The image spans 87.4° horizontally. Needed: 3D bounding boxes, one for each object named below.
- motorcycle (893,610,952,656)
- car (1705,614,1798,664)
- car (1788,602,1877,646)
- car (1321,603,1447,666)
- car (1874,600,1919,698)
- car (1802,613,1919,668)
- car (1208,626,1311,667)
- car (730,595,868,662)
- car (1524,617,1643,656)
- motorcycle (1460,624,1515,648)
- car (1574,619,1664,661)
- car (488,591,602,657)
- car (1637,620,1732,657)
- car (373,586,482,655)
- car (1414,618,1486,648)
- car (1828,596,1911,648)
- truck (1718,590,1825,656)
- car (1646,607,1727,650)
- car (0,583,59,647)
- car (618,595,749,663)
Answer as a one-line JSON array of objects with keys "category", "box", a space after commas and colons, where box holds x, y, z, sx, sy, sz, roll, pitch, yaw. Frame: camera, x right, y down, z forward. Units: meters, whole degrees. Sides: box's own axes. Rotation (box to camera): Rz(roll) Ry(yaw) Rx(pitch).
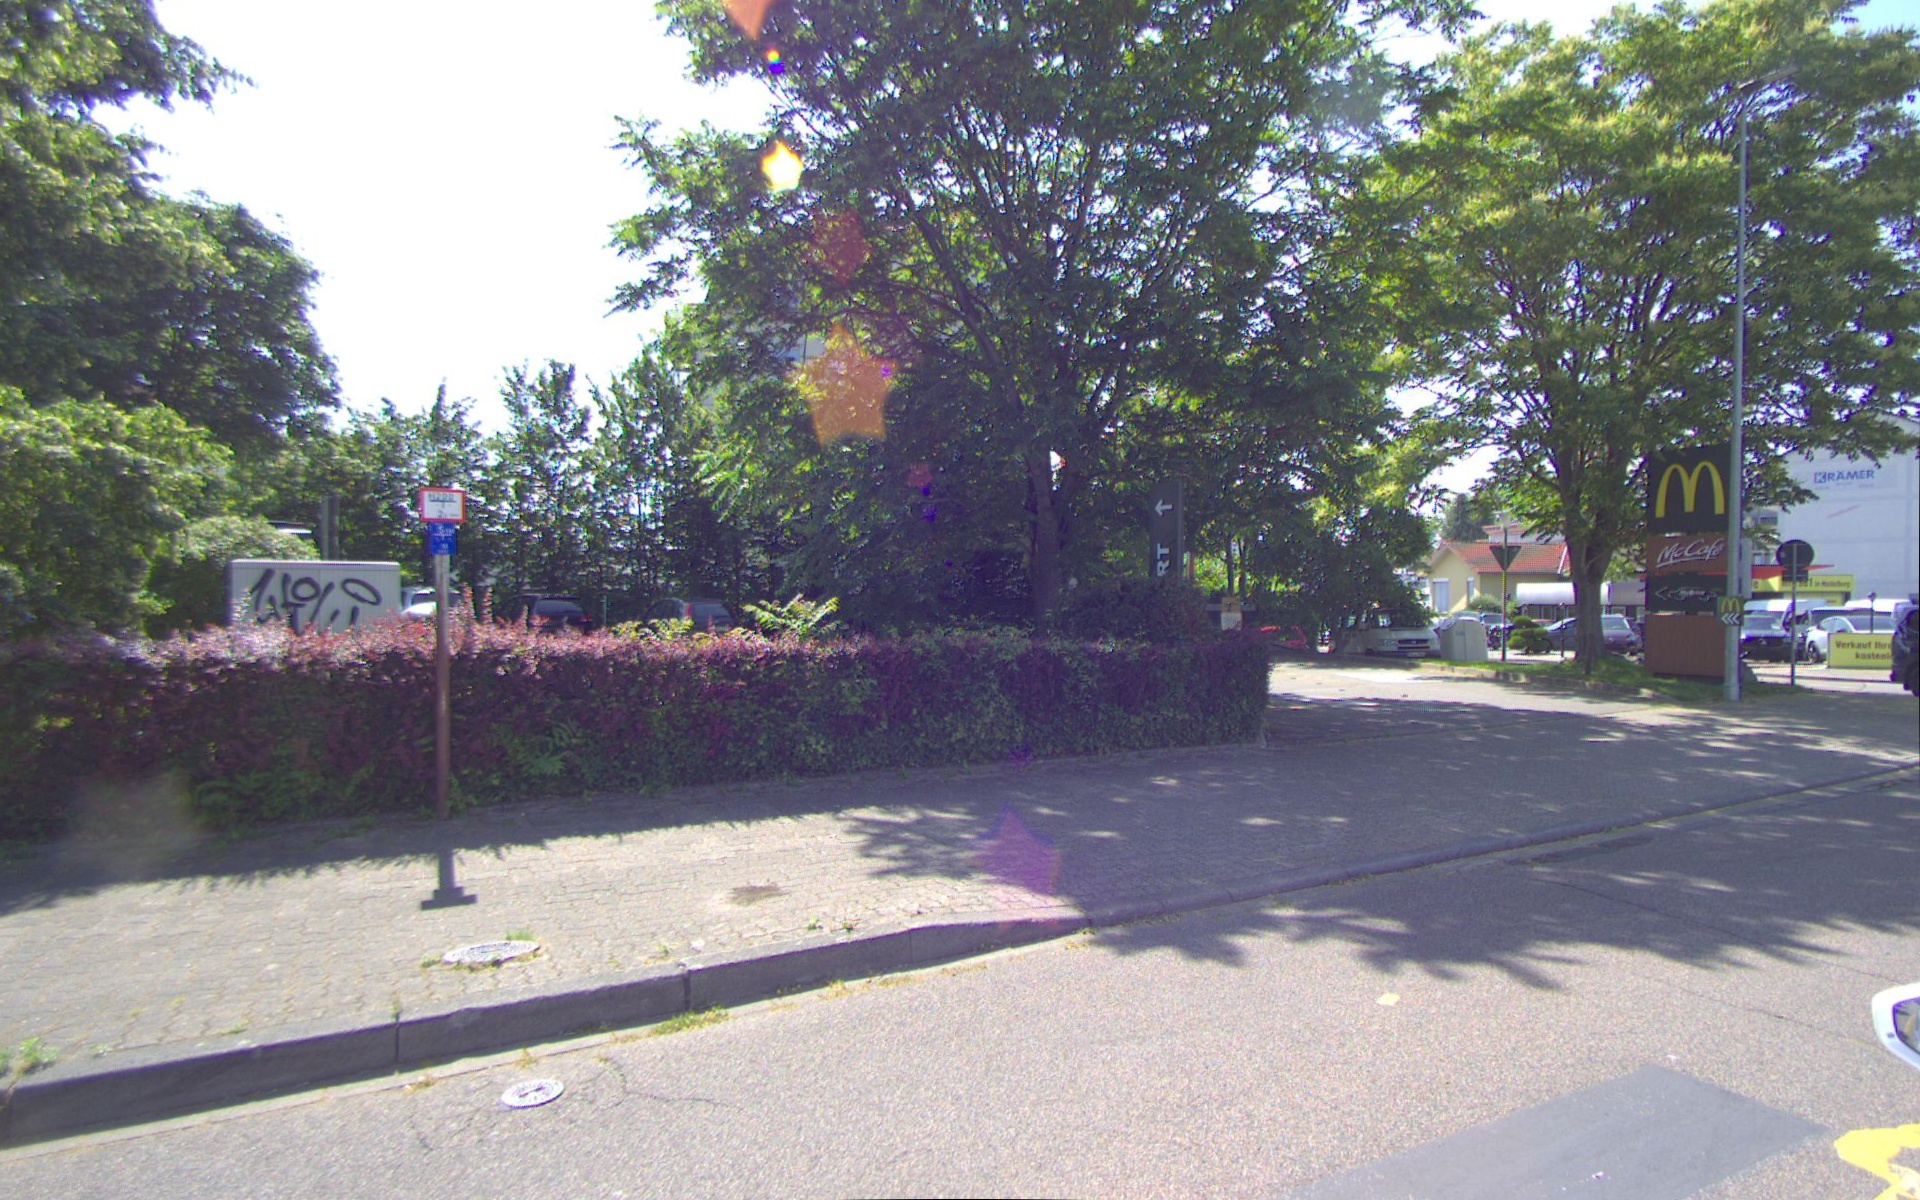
[{"category": "motorcycle", "box": [-1.013, 0.871, 27.030, 1.578, 1.185, 0.568, 1, 1, 34]}, {"category": "car", "box": [28.247, 1.367, 35.994, 2.017, 1.616, 4.414, 2, 0, 31]}, {"category": "car", "box": [38.243, 1.041, 43.997, 4.675, 1.761, 1.865, 1, 1, -35]}, {"category": "car", "box": [12.527, 0.950, 30.036, 1.919, 1.604, 5.033, 2, 1, 4]}, {"category": "car", "box": [20.580, 0.932, 18.753, 2.140, 1.994, 5.447, -1, -2, 2]}, {"category": "car", "box": [31.236, 1.342, 34.712, 1.961, 1.748, 4.000, 2, 0, 20]}, {"category": "car", "box": [11.136, 1.719, 37.469, 3.350, 1.397, 1.485, 0, 2, -5]}, {"category": "car", "box": [-4.221, 0.667, 25.954, 1.649, 1.490, 3.854, -1, 3, -43]}, {"category": "car", "box": [28.760, 1.651, 46.487, 4.248, 1.606, 2.001, 2, 0, 17]}, {"category": "motorcycle", "box": [28.900, 1.963, 55.029, 2.673, 1.243, 0.996, 2, 0, -15]}, {"category": "car", "box": [26.329, 1.587, 40.114, 3.963, 1.530, 1.775, 2, 0, -37]}, {"category": "car", "box": [-10.952, 0.559, 26.375, 1.758, 1.490, 3.955, -1, 2, -38]}, {"category": "car", "box": [31.225, 1.657, 43.279, 3.950, 1.507, 1.781, 2, 0, -28]}, {"category": "car", "box": [-13.904, 0.480, 26.120, 1.759, 1.593, 3.953, 0, 2, -40]}, {"category": "car", "box": [28.689, 1.901, 58.948, 1.962, 1.606, 3.997, 2, 0, -5]}, {"category": "car", "box": [43.077, 1.034, 47.528, 4.668, 2.315, 2.120, 1, 0, -38]}, {"category": "truck", "box": [38.682, 1.072, 47.836, 5.880, 2.943, 2.255, 1, 1, -34]}, {"category": "car", "box": [36.316, 1.442, 50.196, 4.452, 2.040, 1.980, 2, 0, -36]}, {"category": "car", "box": [-24.456, 0.331, 25.644, 3.942, 1.495, 1.764, 2, 2, 42]}, {"category": "car", "box": [-7.027, 0.666, 25.318, 1.691, 1.473, 3.952, -1, 2, -40]}]
